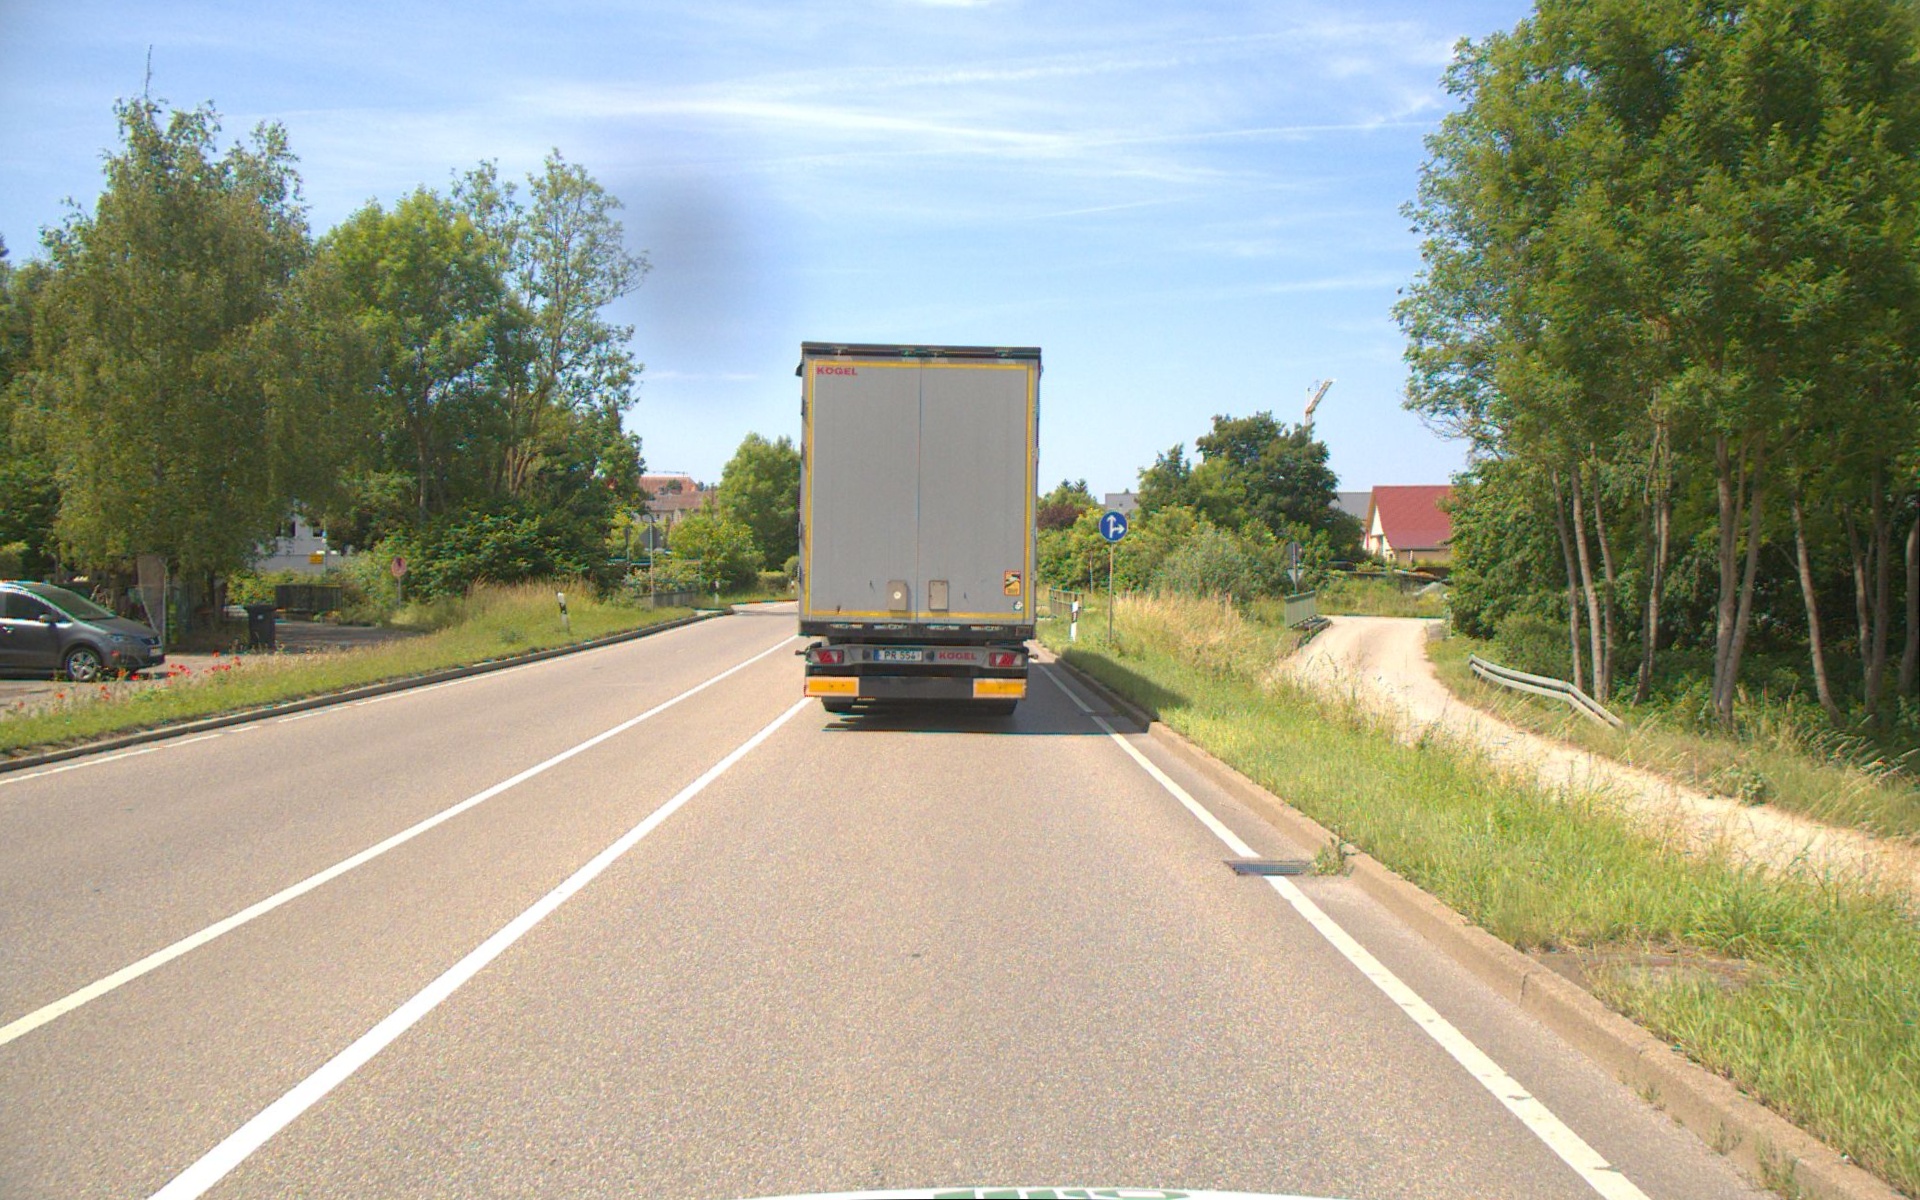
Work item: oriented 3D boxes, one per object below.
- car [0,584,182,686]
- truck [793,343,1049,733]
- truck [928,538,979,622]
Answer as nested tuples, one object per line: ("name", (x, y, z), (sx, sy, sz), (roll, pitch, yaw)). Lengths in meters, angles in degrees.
("car", (-17.482, 0.627, 31.338), (4.572, 1.750, 1.860), (1, 2, -5))
("truck", (-0.517, -0.655, 21.486), (2.594, 3.985, 8.822), (1, 0, -2))
("truck", (-0.459, -1.104, 99.056), (2.593, 4.681, 10.812), (2, 0, -2))
